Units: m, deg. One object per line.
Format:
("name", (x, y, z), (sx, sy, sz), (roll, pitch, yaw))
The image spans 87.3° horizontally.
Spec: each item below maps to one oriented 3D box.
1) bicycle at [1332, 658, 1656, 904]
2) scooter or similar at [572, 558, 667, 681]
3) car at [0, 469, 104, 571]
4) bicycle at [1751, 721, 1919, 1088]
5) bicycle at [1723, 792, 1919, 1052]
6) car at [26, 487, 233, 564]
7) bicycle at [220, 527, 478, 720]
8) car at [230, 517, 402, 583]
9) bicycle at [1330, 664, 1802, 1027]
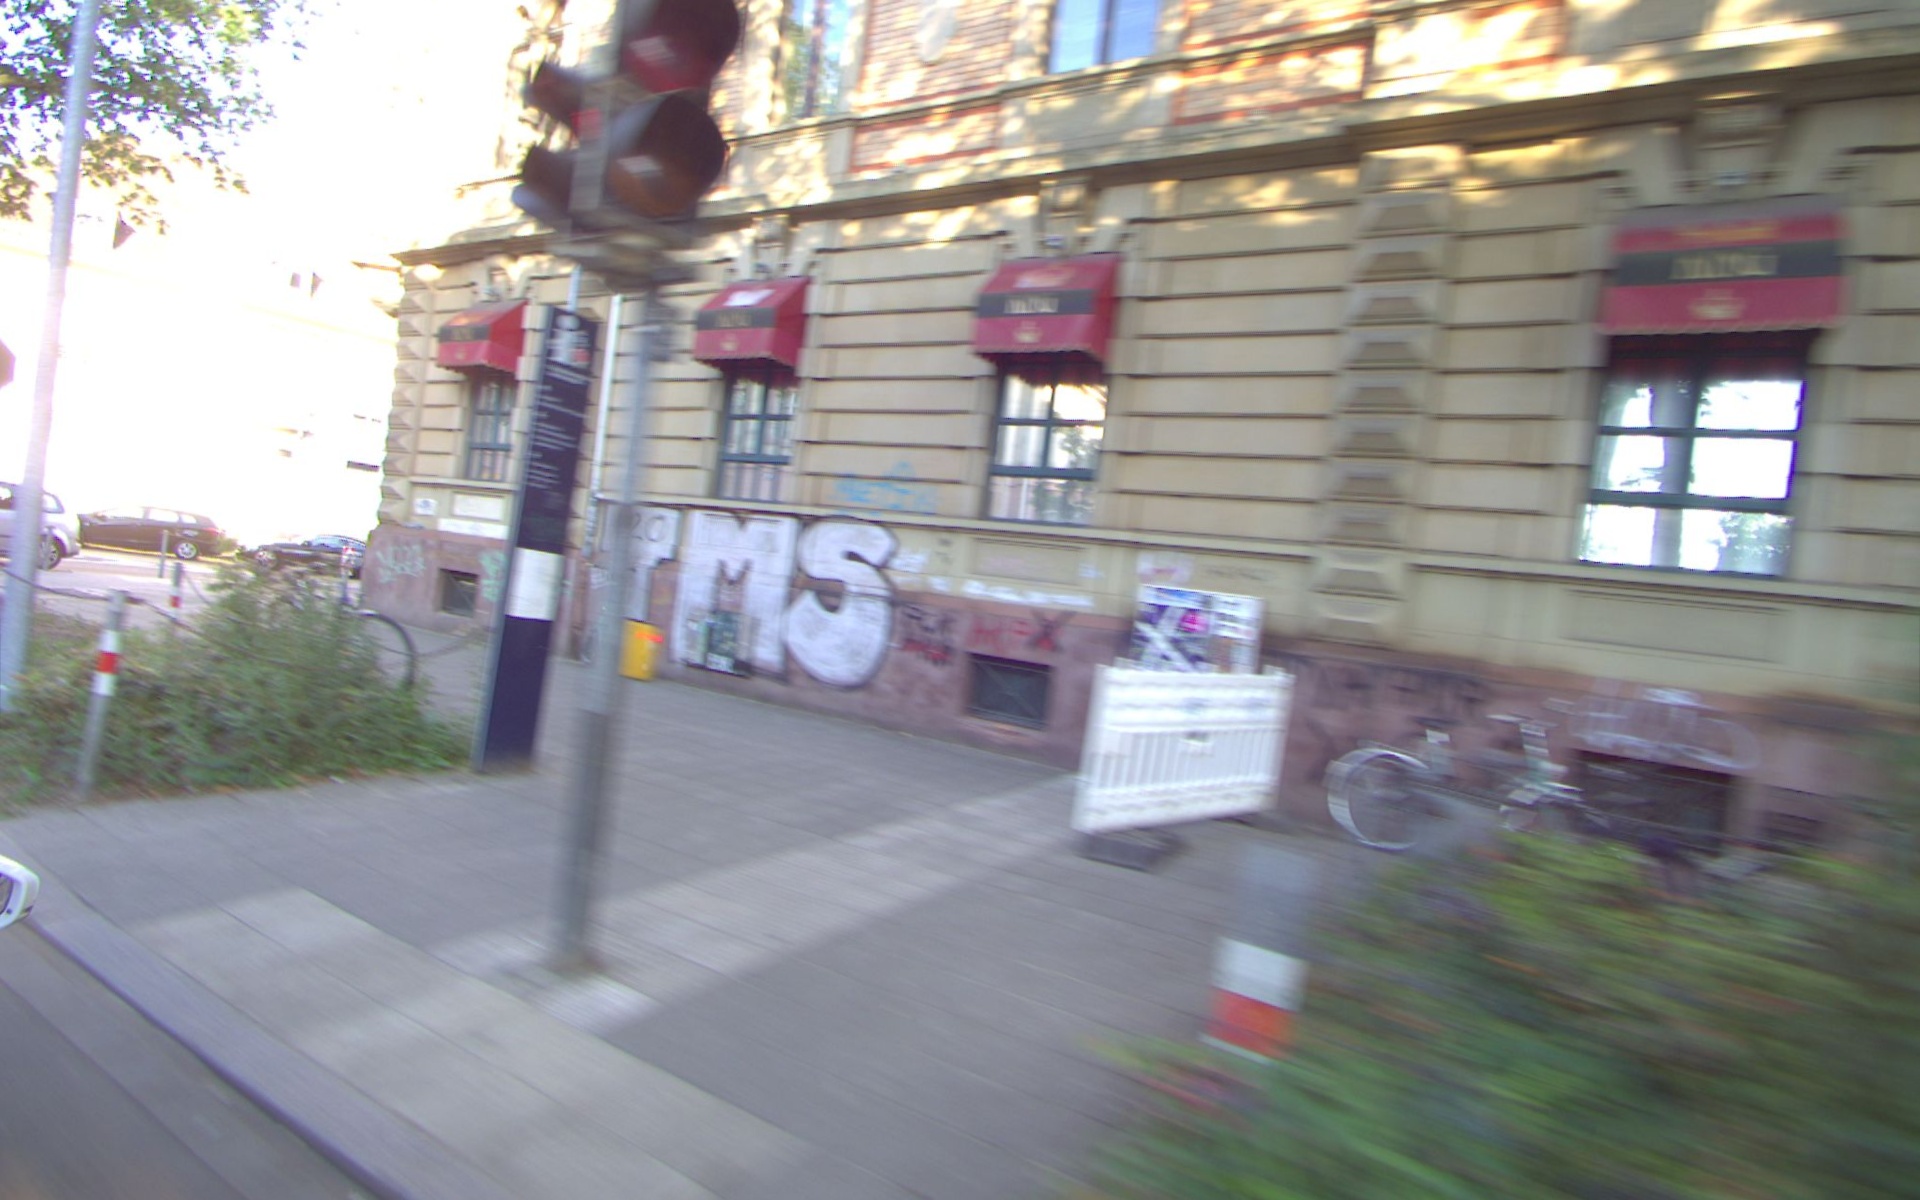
("bicycle", (3.419, 1.109, 6.558), (1.697, 1.226, 0.385), (7, 1, 34))
("scooter or similar", (-3.751, 0.200, 11.053), (1.074, 1.209, 0.251), (8, 2, 33))
("car", (-17.936, -1.594, 17.432), (1.850, 1.674, 4.355), (7, 0, 13))
("bicycle", (4.209, 1.231, 3.508), (2.127, 1.254, 0.581), (7, 1, 36))
("bicycle", (3.719, 1.137, 2.917), (2.291, 0.672, 0.582), (7, -1, 32))
("car", (-24.351, -2.157, 29.739), (4.380, 1.561, 1.850), (8, 0, -33))
("bicycle", (-4.701, 0.142, 7.683), (2.210, 1.167, 0.524), (7, 1, 27))
("car", (-20.749, -1.605, 32.533), (4.476, 1.387, 1.757), (8, 3, -35))
("bicycle", (2.729, 1.041, 4.708), (1.697, 1.251, 0.385), (7, 1, 34))
